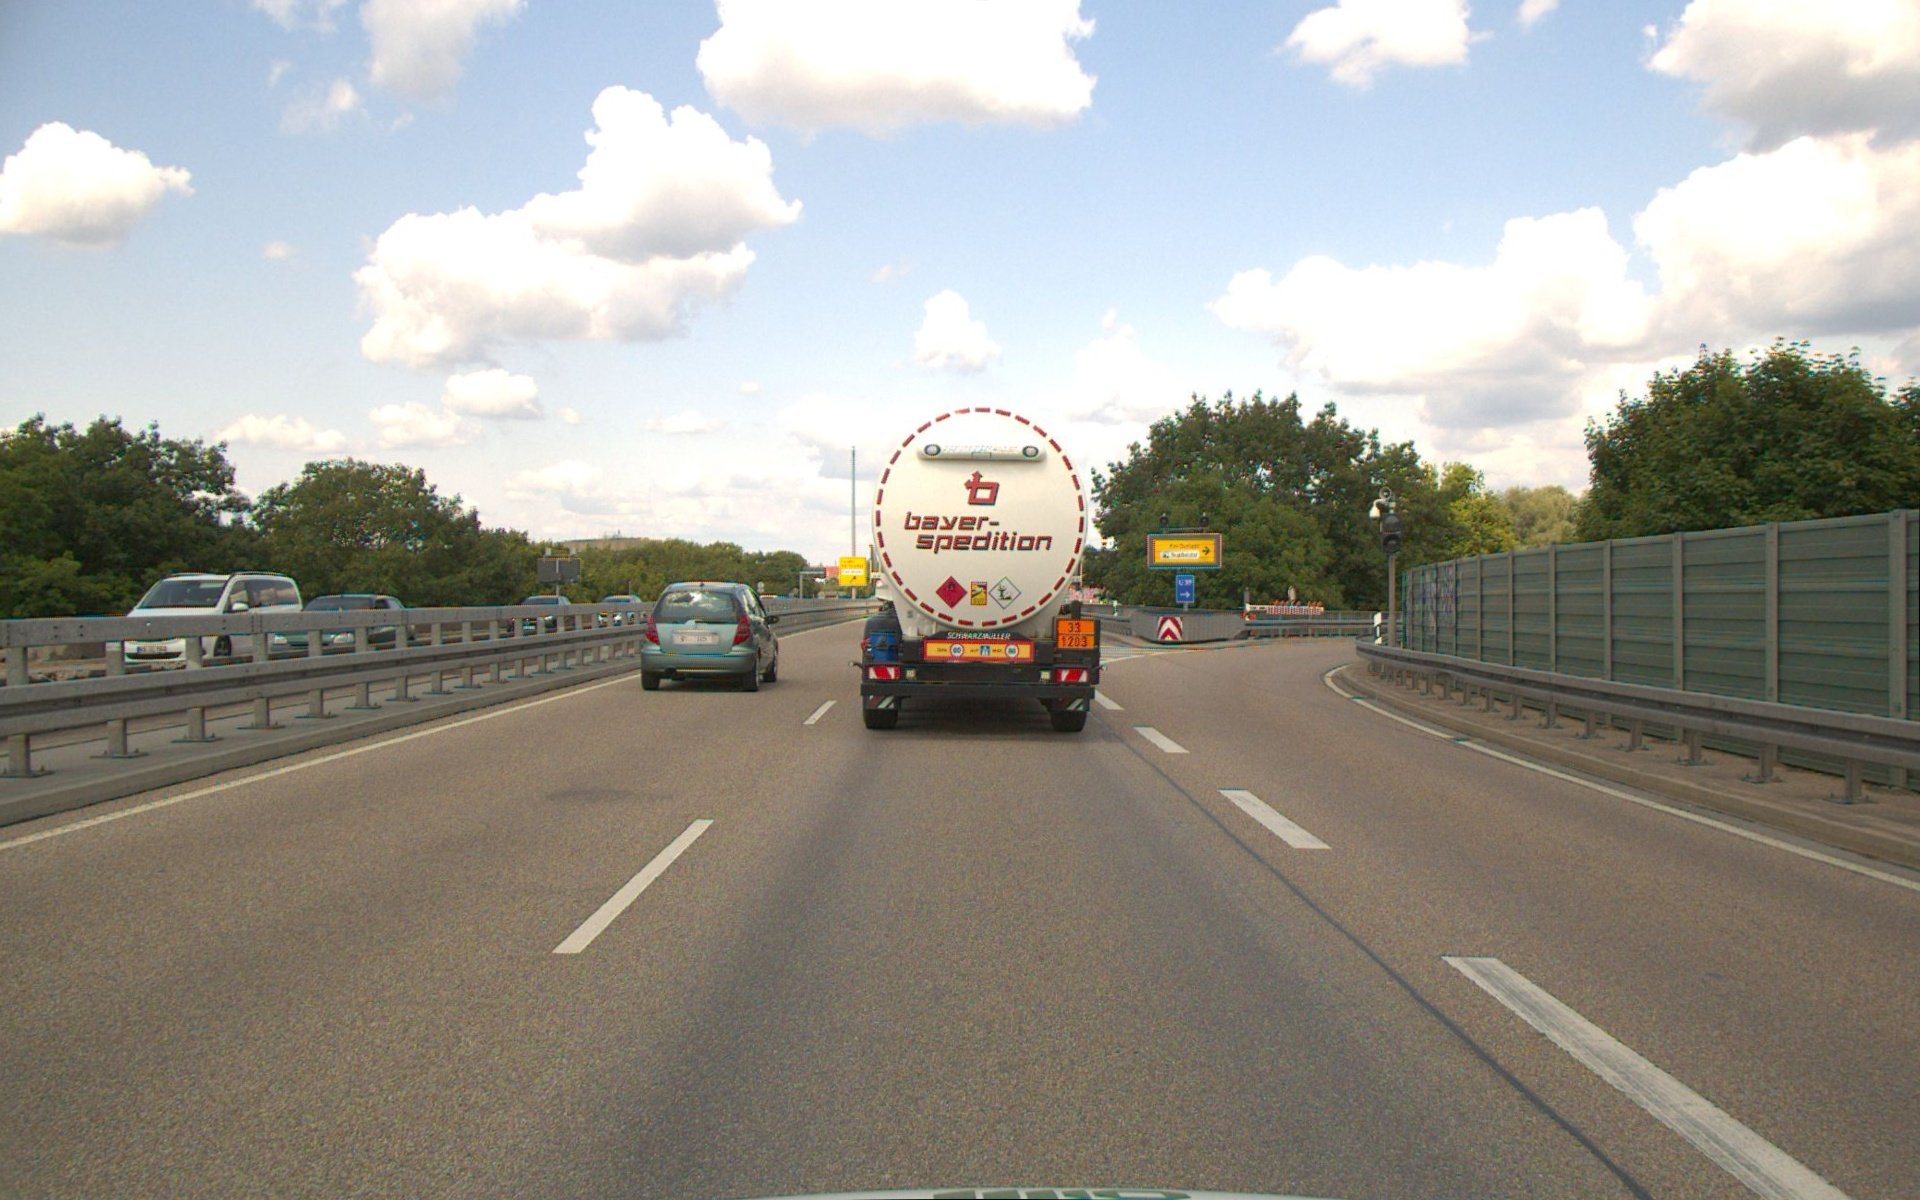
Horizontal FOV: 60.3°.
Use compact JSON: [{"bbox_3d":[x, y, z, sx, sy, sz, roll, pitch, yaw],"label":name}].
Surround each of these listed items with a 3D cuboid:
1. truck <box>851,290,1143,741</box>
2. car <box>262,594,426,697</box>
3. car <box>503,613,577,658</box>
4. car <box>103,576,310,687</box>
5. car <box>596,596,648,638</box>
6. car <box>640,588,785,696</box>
[{"bbox_3d":[0.304,-0.843,20.544,2.836,4.445,8.027,1,0,-1],"label":"truck"},{"bbox_3d":[-11.103,0.775,30.059,1.692,1.651,3.740,1,1,-2],"label":"car"},{"bbox_3d":[-15.089,1.248,59.534,1.748,1.413,4.046,1,1,-2],"label":"car"},{"bbox_3d":[-14.863,0.539,32.968,1.921,1.958,5.189,2,1,-3],"label":"car"},{"bbox_3d":[-15.126,0.741,74.217,1.550,1.740,4.409,1,1,-2],"label":"car"},{"bbox_3d":[-3.776,0.593,25.824,1.712,1.558,3.999,0,0,-1],"label":"car"}]
